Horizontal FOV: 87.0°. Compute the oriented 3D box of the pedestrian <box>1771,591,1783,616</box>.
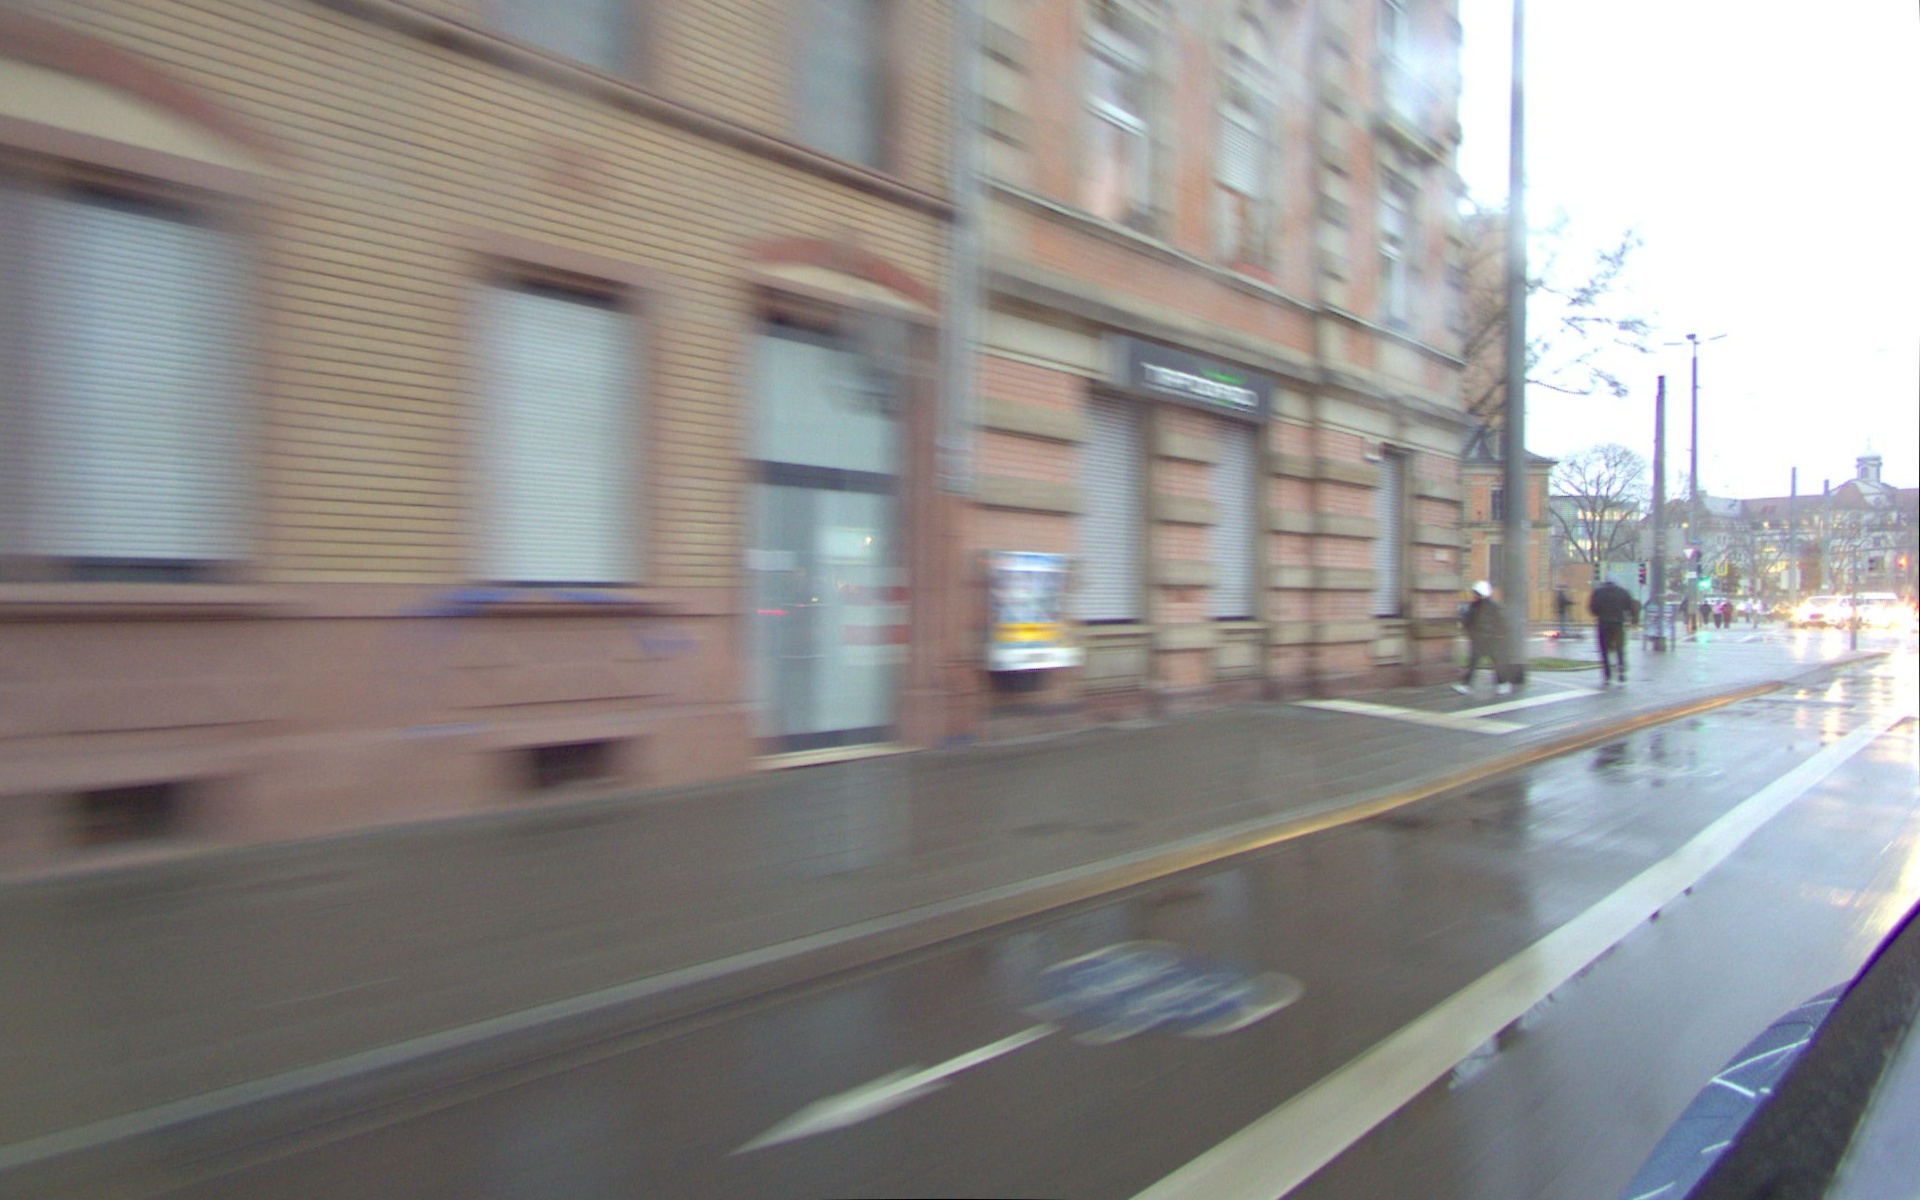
[{"bbox_3d":[60.186,0.255,74.581,0.634,1.784,0.504,0,0,36],"label":"pedestrian"}]

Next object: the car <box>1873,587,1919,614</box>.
[{"bbox_3d":[65.415,0.008,70.679,2.007,1.842,3.641,0,0,36],"label":"car"}]

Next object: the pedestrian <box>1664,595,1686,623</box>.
[{"bbox_3d":[42.758,0.512,60.553,0.867,1.640,0.745,0,0,15],"label":"pedestrian"}]

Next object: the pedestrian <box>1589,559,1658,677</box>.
[{"bbox_3d":[10.673,0.278,16.290,0.698,1.848,0.753,0,0,-39],"label":"pedestrian"}]

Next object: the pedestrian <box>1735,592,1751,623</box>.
[{"bbox_3d":[46.160,0.446,59.664,0.503,1.784,0.635,0,0,15],"label":"pedestrian"}]

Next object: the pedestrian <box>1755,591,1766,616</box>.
[{"bbox_3d":[59.413,0.254,75.128,0.634,1.784,0.504,0,0,36],"label":"pedestrian"}]

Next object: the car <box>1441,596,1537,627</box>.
[{"bbox_3d":[25.211,0.547,48.345,3.687,1.419,1.615,-1,0,9],"label":"car"}]

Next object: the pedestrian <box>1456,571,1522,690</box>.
[{"bbox_3d":[7.245,0.397,13.860,0.632,1.568,0.699,0,0,44],"label":"pedestrian"}]

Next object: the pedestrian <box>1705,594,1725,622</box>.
[{"bbox_3d":[45.613,0.475,61.147,0.699,1.640,0.745,0,0,15],"label":"pedestrian"}]

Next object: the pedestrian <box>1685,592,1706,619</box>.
[{"bbox_3d":[46.447,0.343,63.919,0.867,1.640,0.745,0,0,15],"label":"pedestrian"}]

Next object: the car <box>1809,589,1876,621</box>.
[{"bbox_3d":[52.439,0.274,60.121,4.780,1.861,1.999,0,1,-36],"label":"car"}]

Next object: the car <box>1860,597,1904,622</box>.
[{"bbox_3d":[59.152,0.612,64.951,1.819,1.527,3.751,0,1,39],"label":"car"}]

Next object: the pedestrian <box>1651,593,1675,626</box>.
[{"bbox_3d":[35.409,0.494,50.976,0.808,1.640,0.745,0,0,16],"label":"pedestrian"}]

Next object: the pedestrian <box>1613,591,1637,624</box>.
[{"bbox_3d":[34.918,0.398,53.124,0.734,1.697,0.820,0,0,-31],"label":"pedestrian"}]

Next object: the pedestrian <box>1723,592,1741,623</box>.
[{"bbox_3d":[46.165,0.425,60.493,0.640,1.844,0.635,0,0,15],"label":"pedestrian"}]
